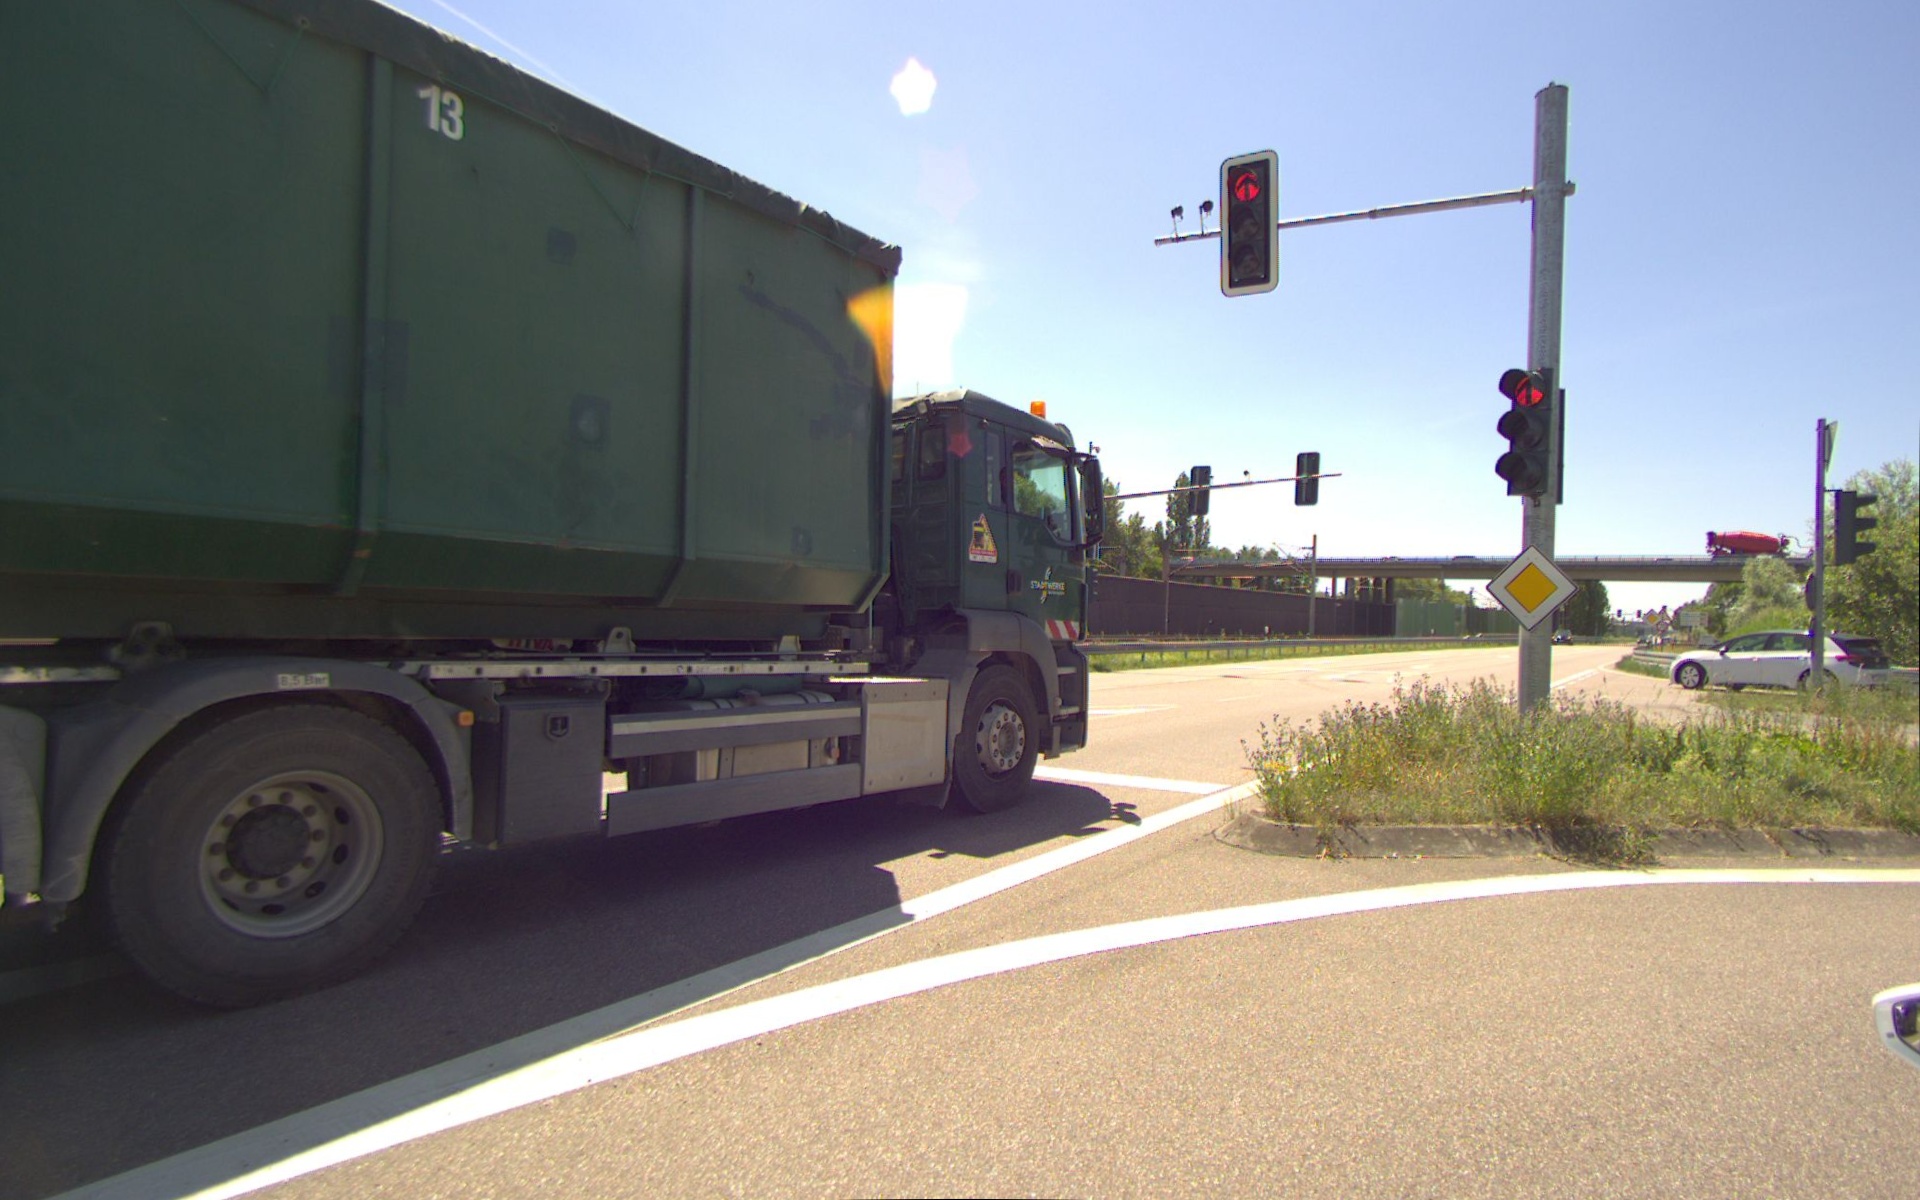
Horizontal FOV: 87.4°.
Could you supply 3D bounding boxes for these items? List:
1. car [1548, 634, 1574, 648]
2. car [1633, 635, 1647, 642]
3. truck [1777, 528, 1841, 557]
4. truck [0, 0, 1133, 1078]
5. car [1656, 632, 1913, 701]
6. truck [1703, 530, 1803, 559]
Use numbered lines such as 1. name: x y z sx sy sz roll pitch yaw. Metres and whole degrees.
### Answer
1. car: 65.030 4.419 108.717 1.968 1.416 4.390 0 -1 37
2. car: 128.632 7.267 190.082 1.968 1.416 4.390 0 -1 37
3. truck: 88.719 -5.986 104.980 5.035 2.709 1.989 0 -1 43
4. truck: -2.494 -0.430 5.514 2.558 3.787 9.534 0 -1 38
5. car: 19.548 1.509 24.063 1.970 1.416 4.385 1 -1 -21
6. truck: 85.174 -5.955 108.101 8.391 2.709 1.992 0 -1 38
